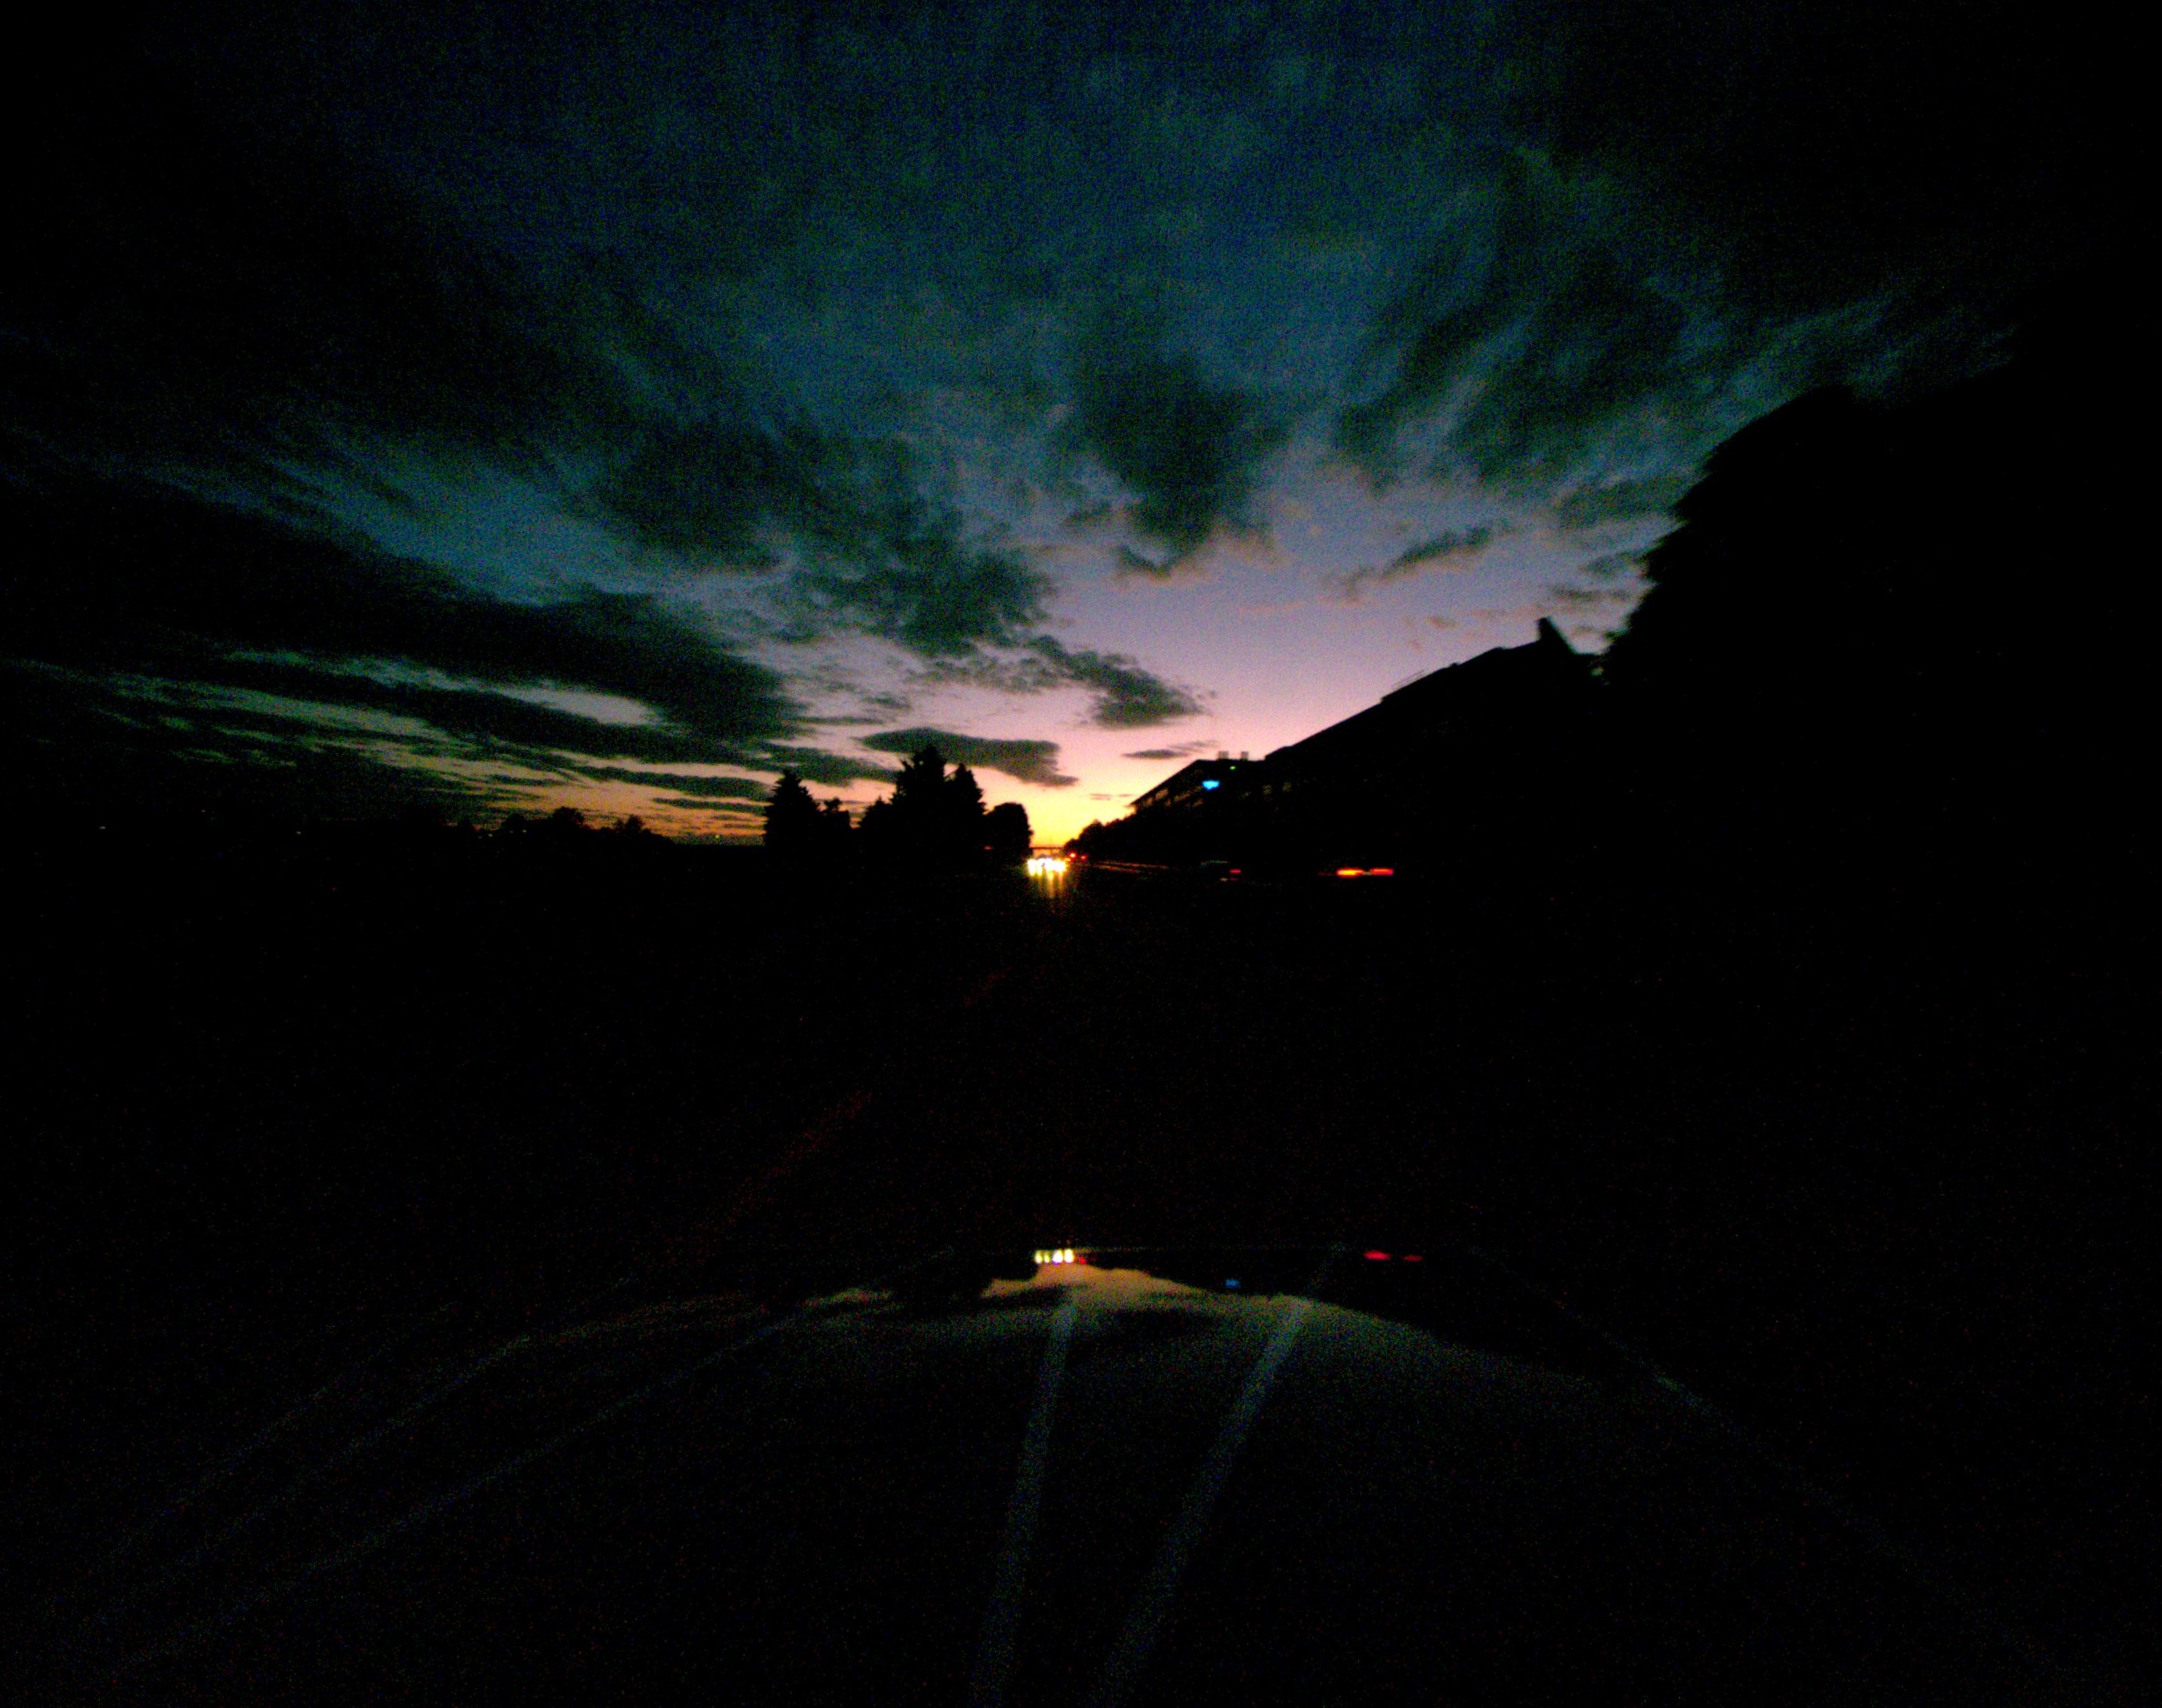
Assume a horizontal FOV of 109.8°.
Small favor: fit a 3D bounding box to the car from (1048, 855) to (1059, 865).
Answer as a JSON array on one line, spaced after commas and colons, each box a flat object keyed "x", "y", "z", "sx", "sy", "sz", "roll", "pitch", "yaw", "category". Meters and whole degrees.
[{"x": -6.048, "y": 1.320, "z": 168.659, "sx": 1.861, "sy": 2.002, "sz": 4.001, "roll": -2, "pitch": 0, "yaw": 4, "category": "car"}]

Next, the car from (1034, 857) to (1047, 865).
[{"x": -8.181, "y": 1.451, "z": 153.091, "sx": 1.998, "sy": 1.574, "sz": 4.001, "roll": -2, "pitch": 0, "yaw": 4, "category": "car"}]

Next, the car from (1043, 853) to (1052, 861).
[{"x": -8.223, "y": 0.781, "z": 186.279, "sx": 1.833, "sy": 1.739, "sz": 3.850, "roll": -2, "pitch": -1, "yaw": 0, "category": "car"}]

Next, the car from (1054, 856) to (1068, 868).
[{"x": -2.522, "y": 1.023, "z": 94.849, "sx": 1.756, "sy": 1.447, "sz": 3.802, "roll": -2, "pitch": 0, "yaw": -2, "category": "car"}]

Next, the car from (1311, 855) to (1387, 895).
[{"x": 11.474, "y": 0.863, "z": 32.820, "sx": 1.705, "sy": 1.613, "sz": 4.306, "roll": -1, "pitch": 0, "yaw": -1, "category": "car"}]

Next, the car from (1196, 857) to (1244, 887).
[{"x": 7.470, "y": 0.959, "z": 41.062, "sx": 1.697, "sy": 1.524, "sz": 3.999, "roll": -1, "pitch": -1, "yaw": -2, "category": "car"}]

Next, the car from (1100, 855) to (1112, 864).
[{"x": 4.560, "y": 1.071, "z": 138.966, "sx": 1.775, "sy": 1.631, "sz": 4.659, "roll": 1, "pitch": 0, "yaw": -4, "category": "car"}]
